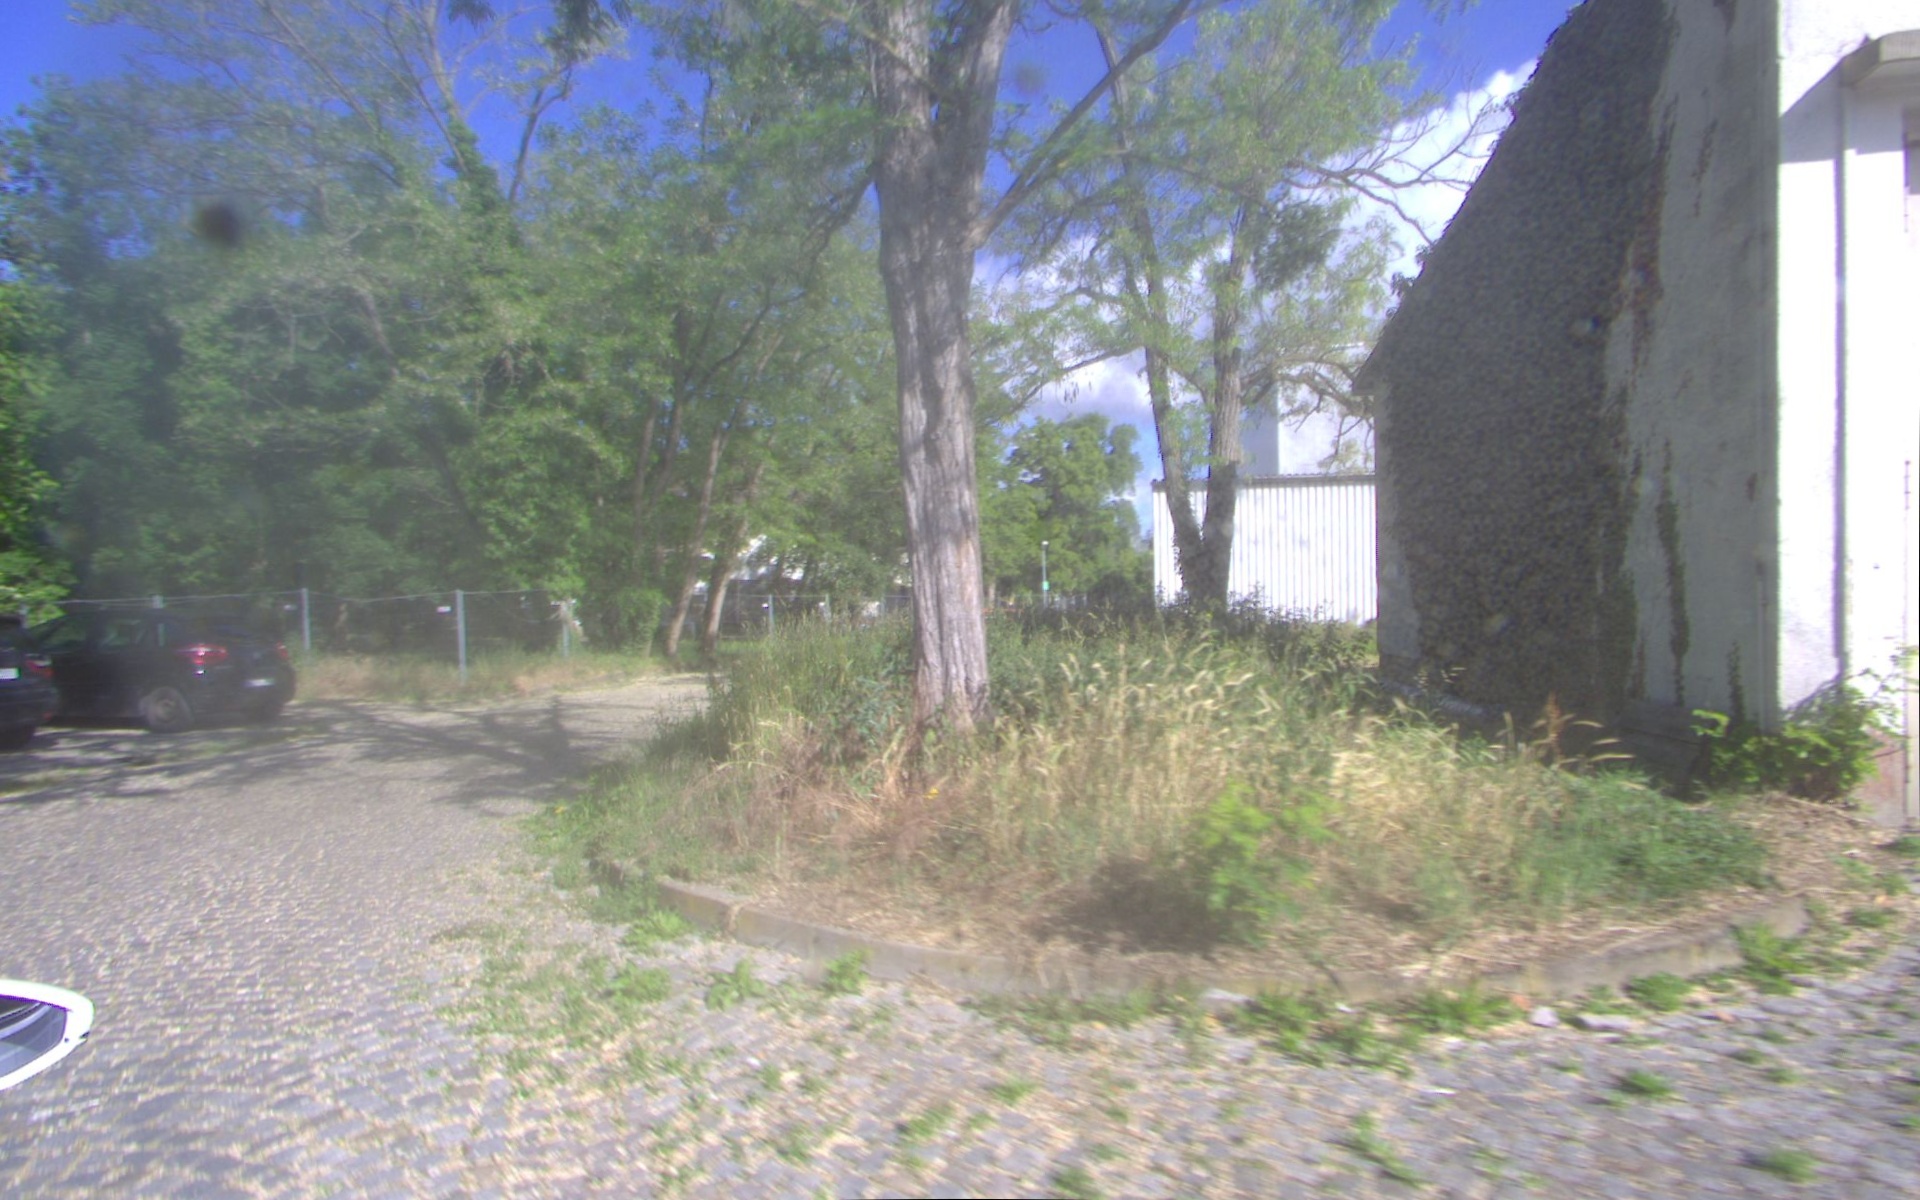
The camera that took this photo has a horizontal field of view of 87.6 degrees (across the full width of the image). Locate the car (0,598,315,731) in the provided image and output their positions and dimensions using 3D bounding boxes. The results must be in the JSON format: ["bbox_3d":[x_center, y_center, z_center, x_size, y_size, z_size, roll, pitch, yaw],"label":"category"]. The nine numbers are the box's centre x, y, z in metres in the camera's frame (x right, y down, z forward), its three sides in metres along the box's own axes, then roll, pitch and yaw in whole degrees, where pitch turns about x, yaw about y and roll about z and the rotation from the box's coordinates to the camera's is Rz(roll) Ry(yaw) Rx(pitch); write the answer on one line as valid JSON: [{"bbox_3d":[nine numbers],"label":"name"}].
[{"bbox_3d":[-11.936,0.867,14.380,4.216,1.674,1.793,1,0,3],"label":"car"}]

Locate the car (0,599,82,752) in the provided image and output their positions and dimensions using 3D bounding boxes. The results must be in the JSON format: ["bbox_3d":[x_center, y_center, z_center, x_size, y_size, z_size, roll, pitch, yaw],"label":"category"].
[{"bbox_3d":[-12.654,0.816,11.435,4.111,1.678,1.816,1,0,11],"label":"car"}]

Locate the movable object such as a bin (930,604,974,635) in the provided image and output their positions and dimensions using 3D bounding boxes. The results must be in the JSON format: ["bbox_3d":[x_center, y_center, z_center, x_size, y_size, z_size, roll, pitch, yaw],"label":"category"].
[{"bbox_3d":[-0.400,1.045,53.939,2.251,1.612,1.174,-1,0,6],"label":"movable object such as a bin"}]
